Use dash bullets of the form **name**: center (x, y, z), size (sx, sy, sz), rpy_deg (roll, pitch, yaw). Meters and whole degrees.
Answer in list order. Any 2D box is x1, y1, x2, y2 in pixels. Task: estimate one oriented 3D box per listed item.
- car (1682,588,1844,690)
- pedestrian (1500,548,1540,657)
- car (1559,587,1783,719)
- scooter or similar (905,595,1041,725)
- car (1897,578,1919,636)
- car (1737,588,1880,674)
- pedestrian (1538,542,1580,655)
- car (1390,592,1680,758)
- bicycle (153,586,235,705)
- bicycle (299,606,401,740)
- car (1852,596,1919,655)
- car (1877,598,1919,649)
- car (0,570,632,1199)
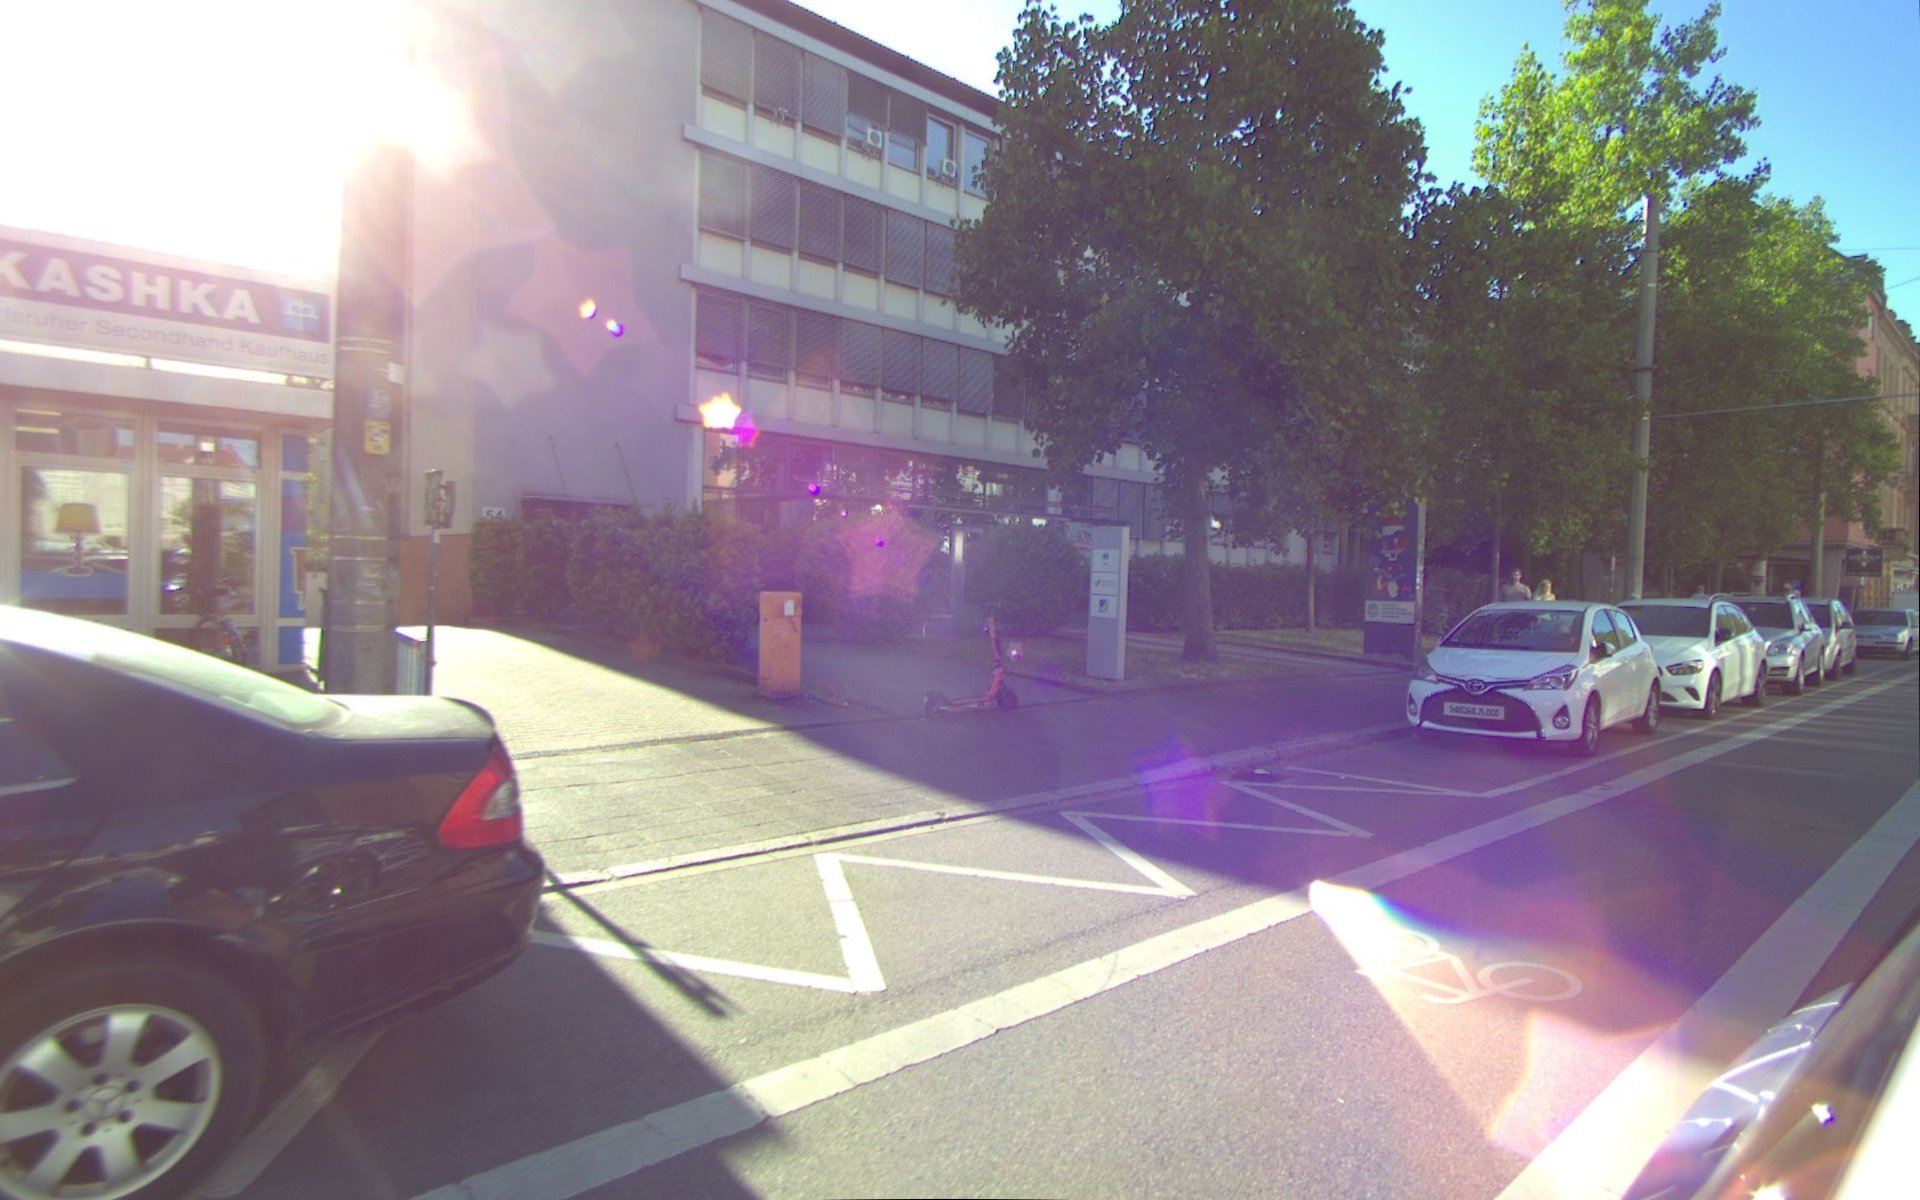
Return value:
- **car**: center (14.384, 0.595, 18.046), size (4.047, 1.615, 1.730), rpy_deg (-1, 0, -44)
- **pedestrian**: center (10.686, 0.045, 19.308), size (0.564, 2.039, 0.507), rpy_deg (-1, 0, -41)
- **car**: center (10.199, 0.630, 14.406), size (4.044, 1.597, 1.731), rpy_deg (-1, 1, -41)
- **scooter or similar**: center (0.149, 0.583, 10.531), size (1.290, 1.224, 0.582), rpy_deg (0, 5, -40)
- **car**: center (36.829, 0.232, 38.202), size (4.045, 2.075, 1.731), rpy_deg (-2, 1, -41)
- **car**: center (17.894, 0.568, 21.288), size (4.045, 1.570, 1.731), rpy_deg (-2, 1, -41)
- **pedestrian**: center (11.086, -0.032, 18.738), size (0.564, 2.039, 0.507), rpy_deg (-1, 0, -41)
- **car**: center (6.417, 0.685, 11.133), size (3.798, 1.502, 1.731), rpy_deg (0, 0, -43)
- **bicycle**: center (-7.742, 0.411, 10.204), size (0.562, 0.977, 1.807), rpy_deg (-1, 5, -40)
- **bicycle**: center (-5.368, 0.585, 8.856), size (0.399, 0.933, 1.812), rpy_deg (-1, 4, -43)
- **car**: center (26.879, 0.675, 28.813), size (4.045, 1.501, 1.731), rpy_deg (-2, 1, -41)
- **car**: center (30.853, 0.719, 32.453), size (4.045, 1.501, 1.731), rpy_deg (-2, 1, -41)
- **car**: center (-3.387, 0.711, 2.137), size (4.844, 1.501, 1.731), rpy_deg (-2, 1, -41)
